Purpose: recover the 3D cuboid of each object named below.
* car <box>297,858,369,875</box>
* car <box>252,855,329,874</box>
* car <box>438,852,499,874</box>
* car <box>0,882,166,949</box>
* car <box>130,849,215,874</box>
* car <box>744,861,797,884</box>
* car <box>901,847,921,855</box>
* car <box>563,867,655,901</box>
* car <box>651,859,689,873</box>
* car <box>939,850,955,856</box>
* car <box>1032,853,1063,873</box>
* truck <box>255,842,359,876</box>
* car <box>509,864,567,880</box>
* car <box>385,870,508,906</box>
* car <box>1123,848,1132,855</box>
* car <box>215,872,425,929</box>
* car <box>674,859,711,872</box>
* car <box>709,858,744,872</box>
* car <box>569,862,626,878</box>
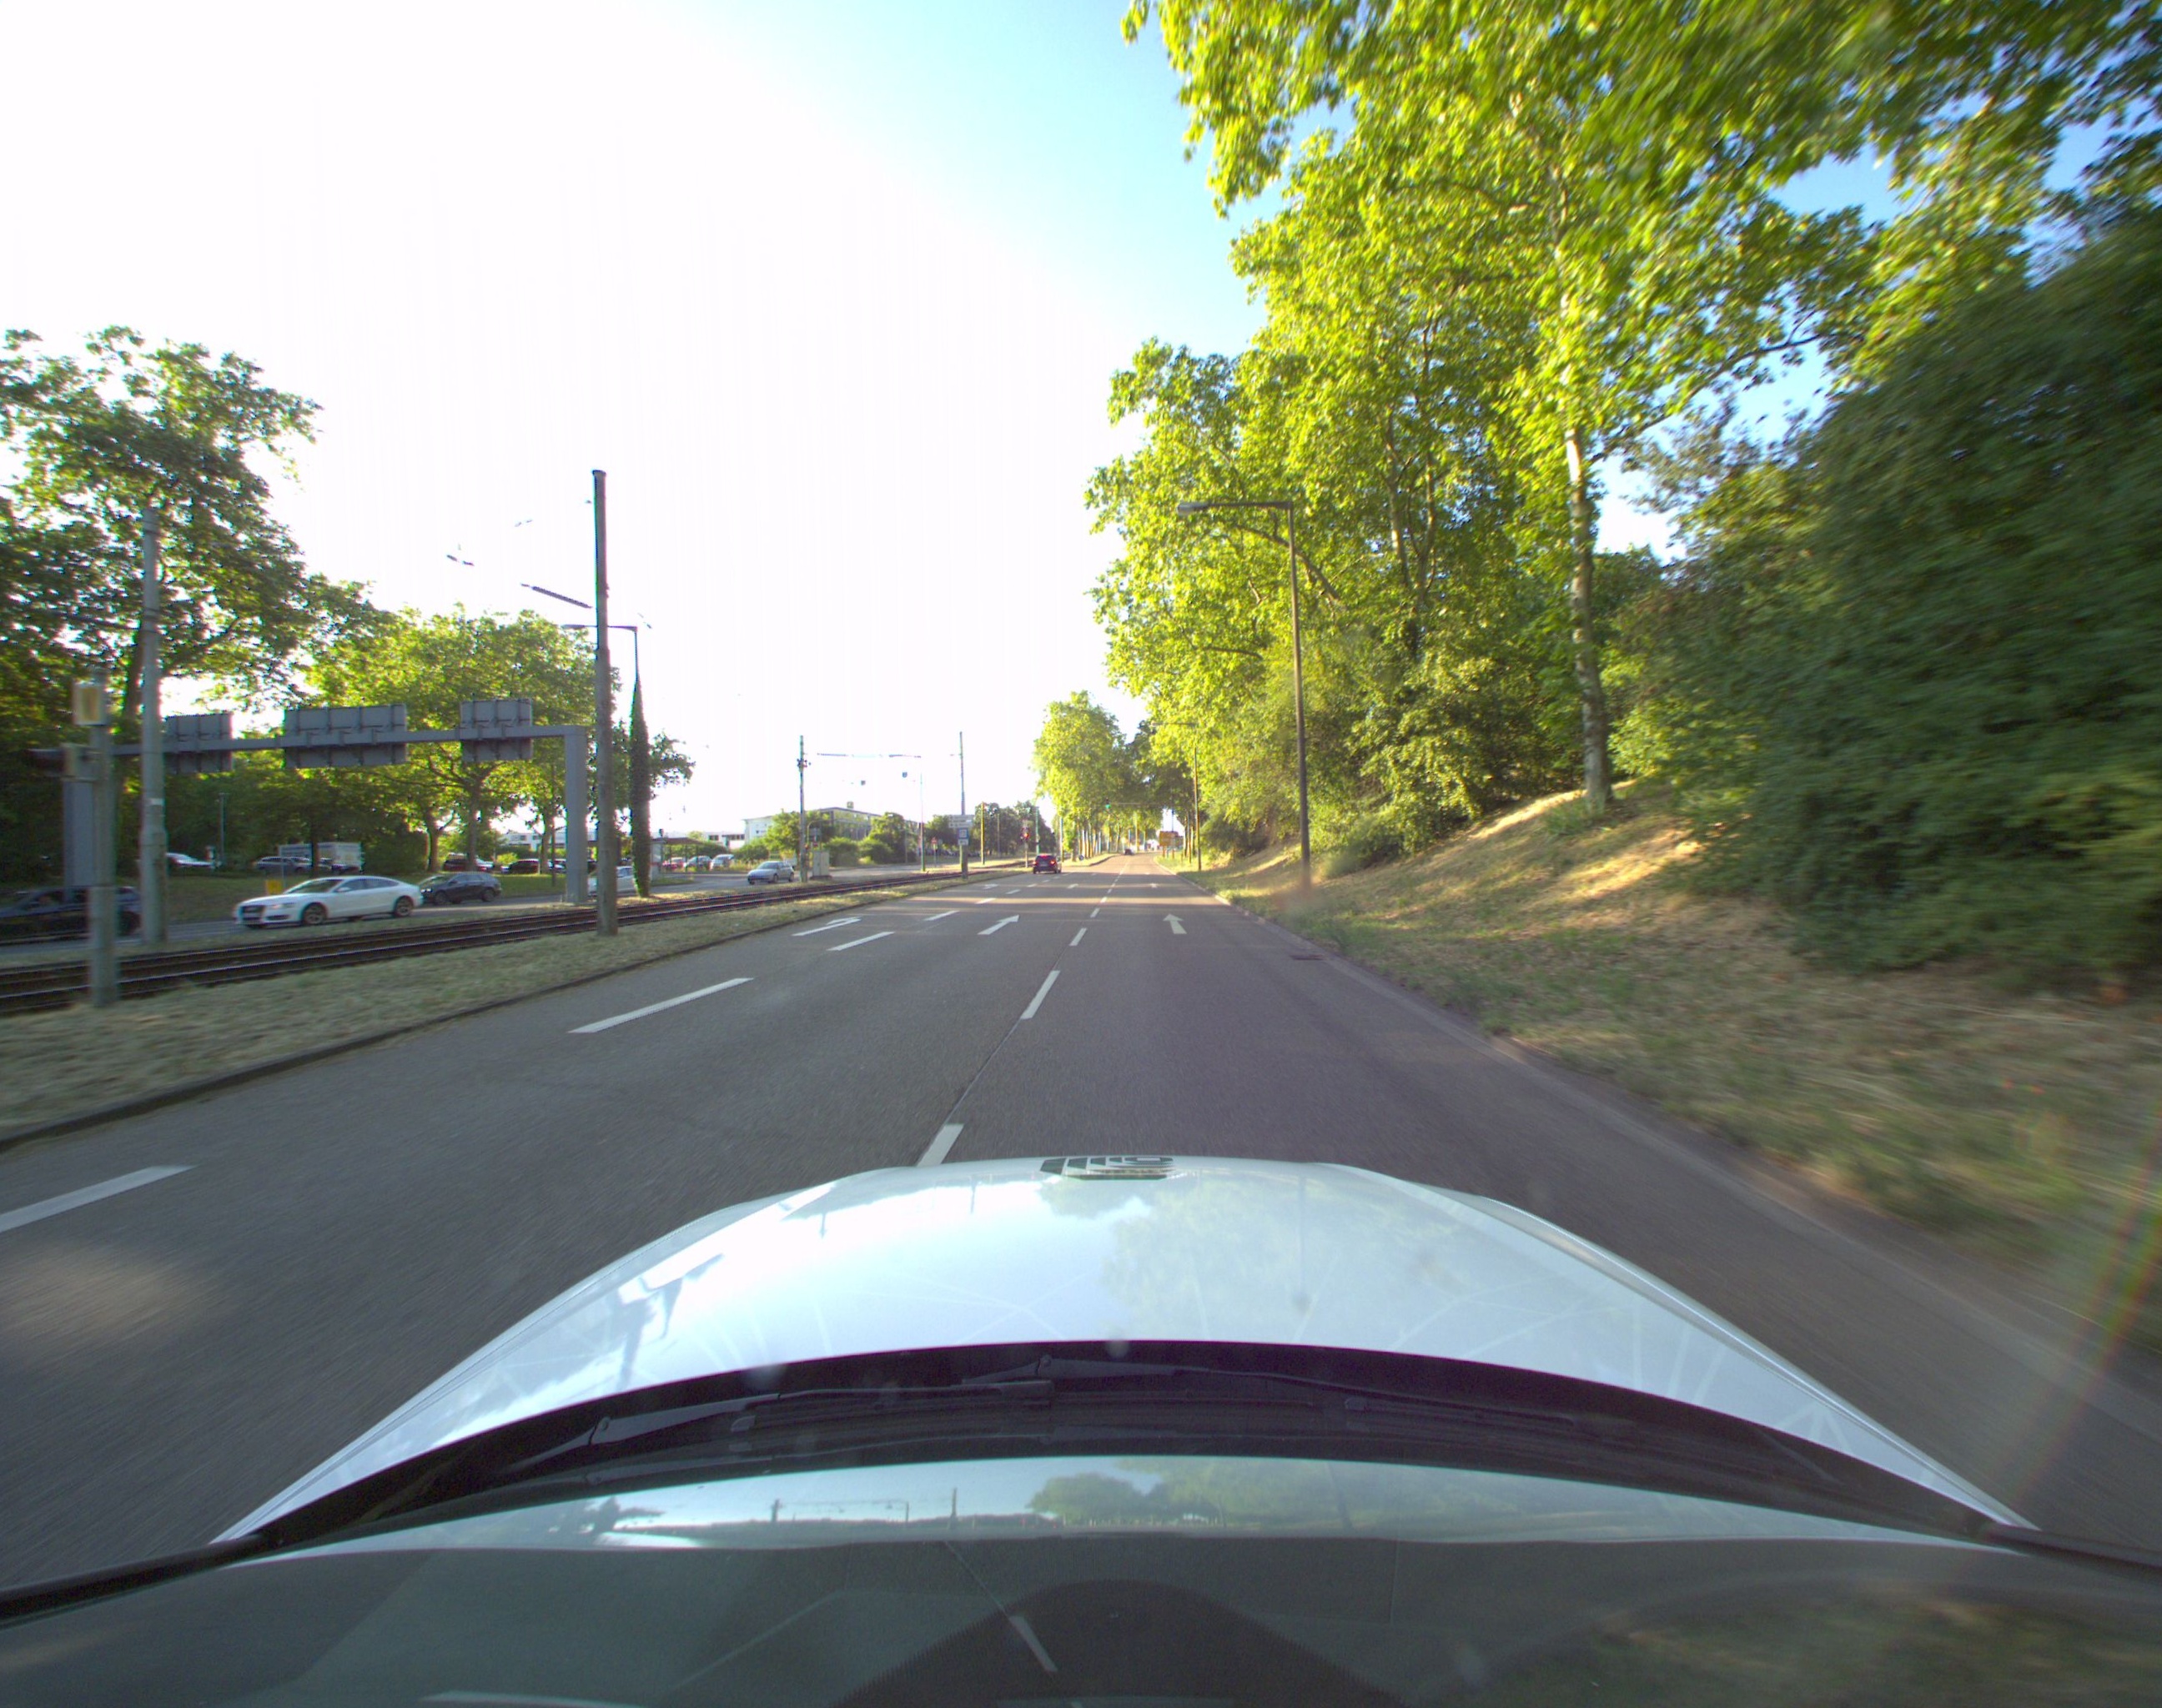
[{"bbox_3d":[-57.341,0.978,62.475,3.971,1.260,1.674,0,0,2],"label":"car"},{"bbox_3d":[-57.433,0.749,59.201,3.971,1.372,1.674,0,0,2],"label":"car"},{"bbox_3d":[-54.210,0.753,72.069,3.966,1.860,2.004,-1,0,6],"label":"car"},{"bbox_3d":[-26.775,1.536,20.710,1.830,1.481,4.440,0,0,3],"label":"car"},{"bbox_3d":[-57.751,0.452,51.781,3.960,1.530,1.867,0,0,12],"label":"car"},{"bbox_3d":[-20.687,1.220,54.351,1.646,1.416,4.263,-1,0,4],"label":"car"},{"bbox_3d":[-28.906,-0.503,138.454,3.132,1.391,1.455,0,0,0],"label":"car"},{"bbox_3d":[-22.026,1.373,38.222,1.647,1.416,4.261,-1,0,2],"label":"car"},{"bbox_3d":[-46.151,1.331,91.507,1.831,1.442,4.007,0,0,7],"label":"car"},{"bbox_3d":[-29.263,-0.242,177.881,3.132,1.391,1.455,0,0,0],"label":"car"},{"bbox_3d":[-2.474,0.654,60.742,1.784,1.403,3.694,-1,0,5],"label":"car"},{"bbox_3d":[-78.258,0.476,82.438,8.250,3.388,2.738,0,0,4],"label":"truck"},{"bbox_3d":[-47.914,1.596,71.916,4.036,1.387,1.786,0,0,5],"label":"car"},{"bbox_3d":[-28.832,1.511,37.203,1.830,1.481,4.604,0,0,3],"label":"car"},{"bbox_3d":[9.677,-0.481,168.324,1.784,1.403,3.693,-1,-1,5],"label":"car"},{"bbox_3d":[-22.576,1.325,24.478,1.831,1.416,4.602,-1,0,2],"label":"car"},{"bbox_3d":[-43.413,1.264,91.048,1.831,1.442,4.007,0,0,7],"label":"car"},{"bbox_3d":[-39.612,1.229,91.010,1.831,1.442,4.007,0,0,7],"label":"car"},{"bbox_3d":[-42.419,1.419,71.468,4.030,1.387,1.789,0,0,10],"label":"car"}]
